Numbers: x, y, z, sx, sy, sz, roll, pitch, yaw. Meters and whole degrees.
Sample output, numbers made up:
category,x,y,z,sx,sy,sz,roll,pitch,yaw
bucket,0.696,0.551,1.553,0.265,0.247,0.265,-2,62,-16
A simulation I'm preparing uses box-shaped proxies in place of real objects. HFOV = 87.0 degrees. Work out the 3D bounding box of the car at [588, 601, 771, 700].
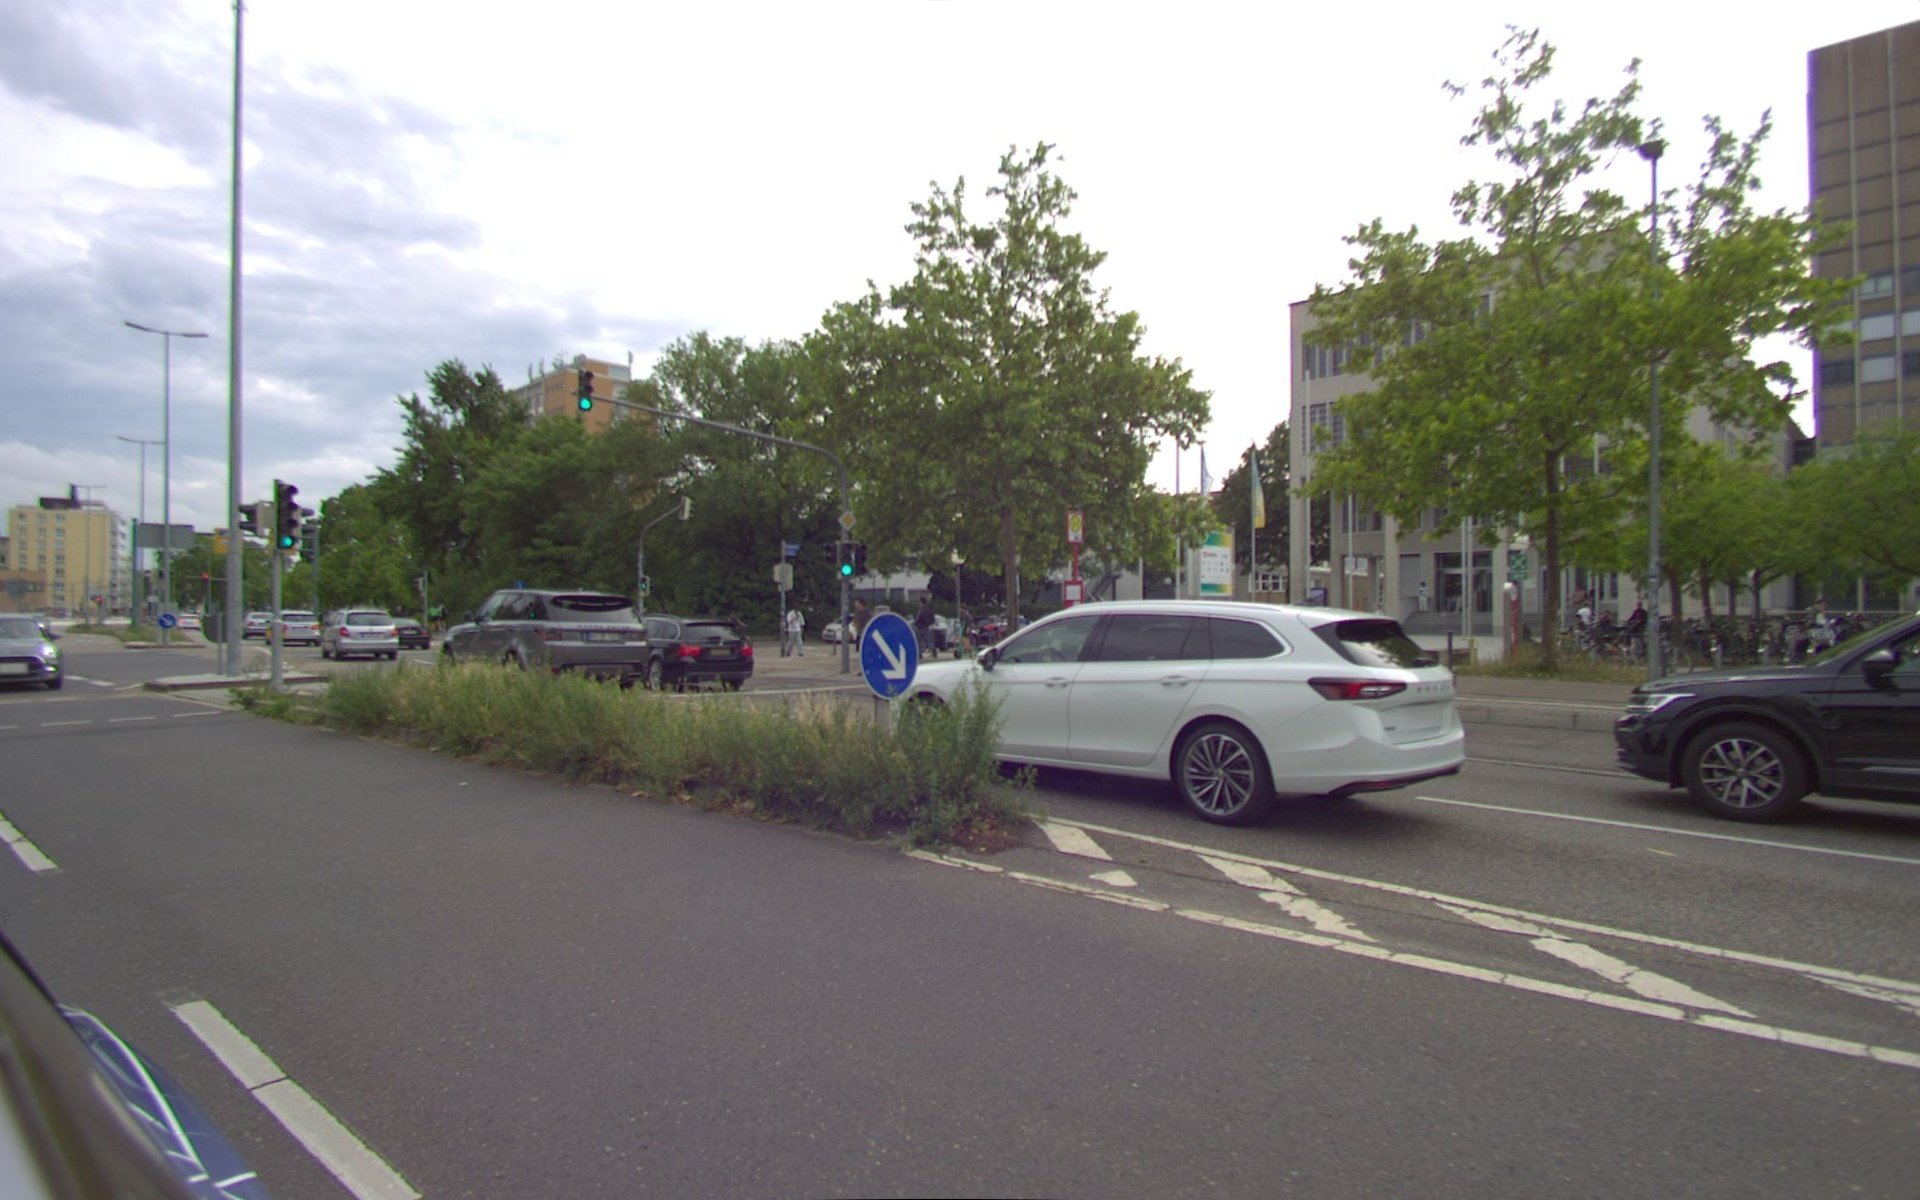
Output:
category,x,y,z,sx,sy,sz,roll,pitch,yaw
car,-5.483,0.900,19.516,1.679,1.702,4.003,1,-1,-45

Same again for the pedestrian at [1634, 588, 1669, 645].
category,x,y,z,sx,sy,sz,roll,pitch,yaw
pedestrian,24.737,0.587,36.187,0.883,2.029,0.797,1,-1,-38

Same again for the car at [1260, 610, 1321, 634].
category,x,y,z,sx,sy,sz,roll,pitch,yaw
car,20.154,1.358,61.659,3.843,1.407,1.997,2,-2,-45

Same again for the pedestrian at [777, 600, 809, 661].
category,x,y,z,sx,sy,sz,roll,pitch,yaw
pedestrian,-5.823,1.054,35.300,0.851,2.074,0.661,-1,-1,34

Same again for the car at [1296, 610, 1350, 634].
category,x,y,z,sx,sy,sz,roll,pitch,yaw
car,23.333,1.415,65.007,3.628,1.467,1.960,1,-1,-45

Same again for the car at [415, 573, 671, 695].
category,x,y,z,sx,sy,sz,roll,pitch,yaw
car,-6.931,0.494,16.521,4.948,1.700,1.972,-1,0,43

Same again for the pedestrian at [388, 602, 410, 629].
category,x,y,z,sx,sy,sz,roll,pitch,yaw
pedestrian,-34.483,0.960,62.189,0.976,1.637,0.814,-2,0,-44

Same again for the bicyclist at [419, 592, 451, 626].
category,x,y,z,sx,sy,sz,roll,pitch,yaw
bicyclist,-31.767,0.544,61.293,1.275,2.029,1.174,-1,0,26

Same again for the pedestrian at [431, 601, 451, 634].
category,x,y,z,sx,sy,sz,roll,pitch,yaw
pedestrian,-33.722,1.134,65.744,0.895,2.028,0.824,-5,2,-37

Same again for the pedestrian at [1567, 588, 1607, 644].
category,x,y,z,sx,sy,sz,roll,pitch,yaw
pedestrian,23.171,0.601,37.403,0.782,2.029,0.992,1,-1,-16

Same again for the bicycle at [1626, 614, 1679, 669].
category,x,y,z,sx,sy,sz,roll,pitch,yaw
bicycle,15.261,0.896,22.338,0.718,1.162,2.017,0,-1,27

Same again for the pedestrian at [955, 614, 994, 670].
category,x,y,z,sx,sy,sz,roll,pitch,yaw
pedestrian,0.533,1.523,37.370,1.018,2.029,0.991,-1,-2,45

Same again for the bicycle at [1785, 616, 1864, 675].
category,x,y,z,sx,sy,sz,roll,pitch,yaw
bicycle,17.810,0.904,20.897,0.718,1.153,2.309,0,-1,27

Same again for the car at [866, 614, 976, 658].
category,x,y,z,sx,sy,sz,roll,pitch,yaw
car,-1.462,1.342,39.397,1.999,1.483,4.098,-1,1,42

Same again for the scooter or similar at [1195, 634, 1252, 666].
category,x,y,z,sx,sy,sz,roll,pitch,yaw
scooter or similar,6.155,1.164,23.682,0.402,0.699,1.291,-2,0,-42

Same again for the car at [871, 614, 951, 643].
category,x,y,z,sx,sy,sz,roll,pitch,yaw
car,-2.607,1.511,54.345,3.940,1.401,2.002,-2,1,-44

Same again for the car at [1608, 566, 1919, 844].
category,x,y,z,sx,sy,sz,roll,pitch,yaw
car,7.000,0.657,6.495,1.970,1.707,4.471,1,-1,-45

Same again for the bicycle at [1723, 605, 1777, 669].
category,x,y,z,sx,sy,sz,roll,pitch,yaw
bicycle,20.404,0.938,26.179,0.920,1.571,2.635,-1,-1,35

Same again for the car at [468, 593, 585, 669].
category,x,y,z,sx,sy,sz,roll,pitch,yaw
car,-11.888,0.793,27.598,1.749,1.862,4.497,-2,0,-39

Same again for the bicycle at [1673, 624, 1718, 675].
category,x,y,z,sx,sy,sz,roll,pitch,yaw
bicycle,19.294,1.267,26.525,0.721,1.279,2.508,-1,-1,41

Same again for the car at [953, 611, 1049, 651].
category,x,y,z,sx,sy,sz,roll,pitch,yaw
car,1.772,1.274,42.879,1.999,1.483,3.945,-1,1,42

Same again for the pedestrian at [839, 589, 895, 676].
category,x,y,z,sx,sy,sz,roll,pitch,yaw
pedestrian,-2.230,0.771,24.250,1.010,2.029,0.884,-1,-1,43

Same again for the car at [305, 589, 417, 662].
category,x,y,z,sx,sy,sz,roll,pitch,yaw
car,-18.085,0.748,30.492,1.970,2.029,4.003,1,-1,-45

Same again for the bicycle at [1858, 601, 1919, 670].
category,x,y,z,sx,sy,sz,roll,pitch,yaw
bicycle,22.405,0.834,24.315,0.920,1.571,2.423,-1,-1,35

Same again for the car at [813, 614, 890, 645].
category,x,y,z,sx,sy,sz,roll,pitch,yaw
car,-5.531,1.467,51.828,1.864,1.461,3.543,-1,0,45

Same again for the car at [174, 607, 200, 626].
category,x,y,z,sx,sy,sz,roll,pitch,yaw
car,-76.728,1.639,100.418,1.865,1.786,4.006,-2,1,-40

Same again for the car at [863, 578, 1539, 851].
category,x,y,z,sx,sy,sz,roll,pitch,yaw
car,1.530,0.638,7.950,1.882,1.476,4.914,-2,1,-45

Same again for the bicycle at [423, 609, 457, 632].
category,x,y,z,sx,sy,sz,roll,pitch,yaw
bicycle,-31.551,1.244,61.415,2.299,1.343,0.602,-1,0,26

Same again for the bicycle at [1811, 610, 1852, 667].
category,x,y,z,sx,sy,sz,roll,pitch,yaw
bicycle,21.381,0.916,24.814,0.721,1.339,2.788,-1,-1,41

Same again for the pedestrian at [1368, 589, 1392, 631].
category,x,y,z,sx,sy,sz,roll,pitch,yaw
pedestrian,20.848,0.504,50.264,1.034,2.029,0.787,0,-1,29

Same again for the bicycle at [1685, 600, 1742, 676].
category,x,y,z,sx,sy,sz,roll,pitch,yaw
bicycle,16.427,0.806,22.100,0.898,1.571,2.173,-1,-1,35

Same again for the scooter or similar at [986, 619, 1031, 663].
category,x,y,z,sx,sy,sz,roll,pitch,yaw
scooter or similar,1.278,1.076,26.850,0.356,1.149,1.320,1,-2,-44

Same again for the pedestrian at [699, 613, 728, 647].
category,x,y,z,sx,sy,sz,roll,pitch,yaw
pedestrian,-10.601,1.280,43.539,0.992,1.439,0.696,-1,0,18

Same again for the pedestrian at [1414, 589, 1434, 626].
category,x,y,z,sx,sy,sz,roll,pitch,yaw
pedestrian,25.884,0.407,56.429,0.943,2.029,0.787,0,-1,29

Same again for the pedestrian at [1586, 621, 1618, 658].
category,x,y,z,sx,sy,sz,roll,pitch,yaw
pedestrian,25.178,1.531,39.709,0.883,1.429,0.797,1,-1,-38

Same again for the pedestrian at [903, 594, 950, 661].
category,x,y,z,sx,sy,sz,roll,pitch,yaw
pedestrian,-0.935,0.768,28.401,0.935,1.817,0.885,-1,-2,42

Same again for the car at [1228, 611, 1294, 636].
category,x,y,z,sx,sy,sz,roll,pitch,yaw
car,17.330,1.331,58.282,3.941,1.371,2.009,1,-2,-45

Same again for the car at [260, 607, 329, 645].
category,x,y,z,sx,sy,sz,roll,pitch,yaw
car,-29.550,1.151,44.880,1.933,1.596,4.261,1,-2,-42

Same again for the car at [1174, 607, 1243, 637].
category,x,y,z,sx,sy,sz,roll,pitch,yaw
car,13.525,1.210,54.989,3.941,1.565,1.890,1,-2,-45

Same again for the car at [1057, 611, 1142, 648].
category,x,y,z,sx,sy,sz,roll,pitch,yaw
car,6.623,1.359,47.846,2.001,1.591,3.942,-1,1,44

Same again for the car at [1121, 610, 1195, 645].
category,x,y,z,sx,sy,sz,roll,pitch,yaw
car,10.121,1.388,51.612,1.854,1.696,3.942,-1,-1,44

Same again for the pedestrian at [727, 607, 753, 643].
category,x,y,z,sx,sy,sz,roll,pitch,yaw
pedestrian,-9.641,1.093,44.332,0.811,1.525,0.978,1,-1,-30

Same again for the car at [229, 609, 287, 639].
category,x,y,z,sx,sy,sz,roll,pitch,yaw
car,-37.663,1.283,54.237,1.970,1.541,4.278,1,-1,-43

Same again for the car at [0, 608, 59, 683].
category,x,y,z,sx,sy,sz,roll,pitch,yaw
car,-18.364,0.828,19.358,1.601,1.328,3.711,1,-1,-41

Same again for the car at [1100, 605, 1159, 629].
category,x,y,z,sx,sy,sz,roll,pitch,yaw
car,11.565,1.153,68.874,3.939,1.552,2.002,1,-1,-43

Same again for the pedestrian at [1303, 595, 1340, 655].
category,x,y,z,sx,sy,sz,roll,pitch,yaw
pedestrian,12.484,0.857,34.964,1.092,2.029,0.787,0,-1,29

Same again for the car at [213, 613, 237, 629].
category,x,y,z,sx,sy,sz,roll,pitch,yaw
car,-73.919,2.111,101.769,1.825,1.564,4.010,1,-1,-34

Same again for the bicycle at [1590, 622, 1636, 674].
category,x,y,z,sx,sy,sz,roll,pitch,yaw
bicycle,18.039,1.286,27.940,0.721,1.364,2.458,-1,-1,41

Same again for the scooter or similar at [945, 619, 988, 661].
category,x,y,z,sx,sy,sz,roll,pitch,yaw
scooter or similar,0.163,1.093,28.029,0.356,1.149,1.320,1,-2,-44

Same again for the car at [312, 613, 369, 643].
category,x,y,z,sx,sy,sz,roll,pitch,yaw
car,-31.813,1.426,51.962,1.830,1.475,3.702,1,-1,-42
